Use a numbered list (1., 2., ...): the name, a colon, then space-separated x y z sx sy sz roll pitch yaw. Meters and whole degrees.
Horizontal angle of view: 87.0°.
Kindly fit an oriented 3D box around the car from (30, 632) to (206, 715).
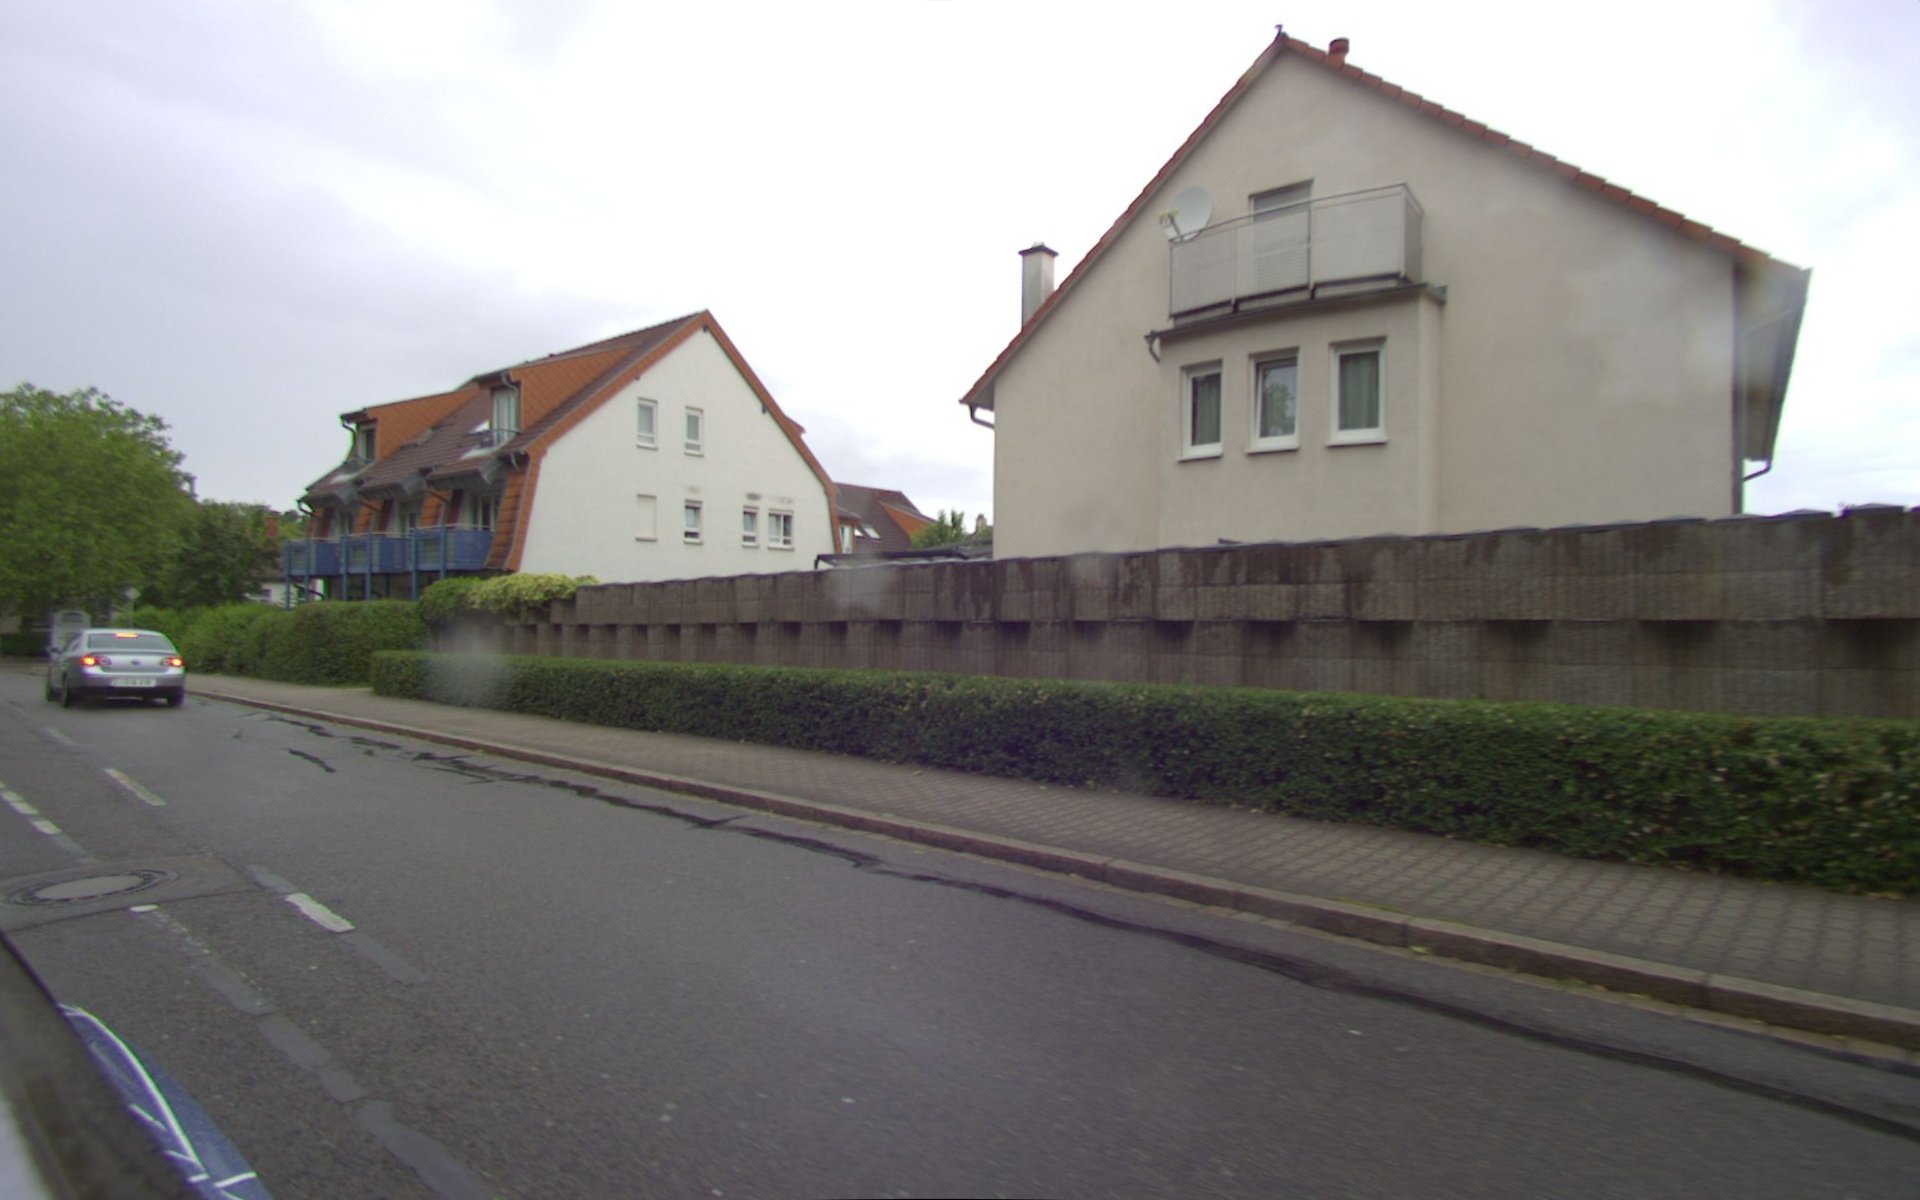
1. car: -16.498 1.378 19.753 4.484 1.431 1.972 -2 -4 42
